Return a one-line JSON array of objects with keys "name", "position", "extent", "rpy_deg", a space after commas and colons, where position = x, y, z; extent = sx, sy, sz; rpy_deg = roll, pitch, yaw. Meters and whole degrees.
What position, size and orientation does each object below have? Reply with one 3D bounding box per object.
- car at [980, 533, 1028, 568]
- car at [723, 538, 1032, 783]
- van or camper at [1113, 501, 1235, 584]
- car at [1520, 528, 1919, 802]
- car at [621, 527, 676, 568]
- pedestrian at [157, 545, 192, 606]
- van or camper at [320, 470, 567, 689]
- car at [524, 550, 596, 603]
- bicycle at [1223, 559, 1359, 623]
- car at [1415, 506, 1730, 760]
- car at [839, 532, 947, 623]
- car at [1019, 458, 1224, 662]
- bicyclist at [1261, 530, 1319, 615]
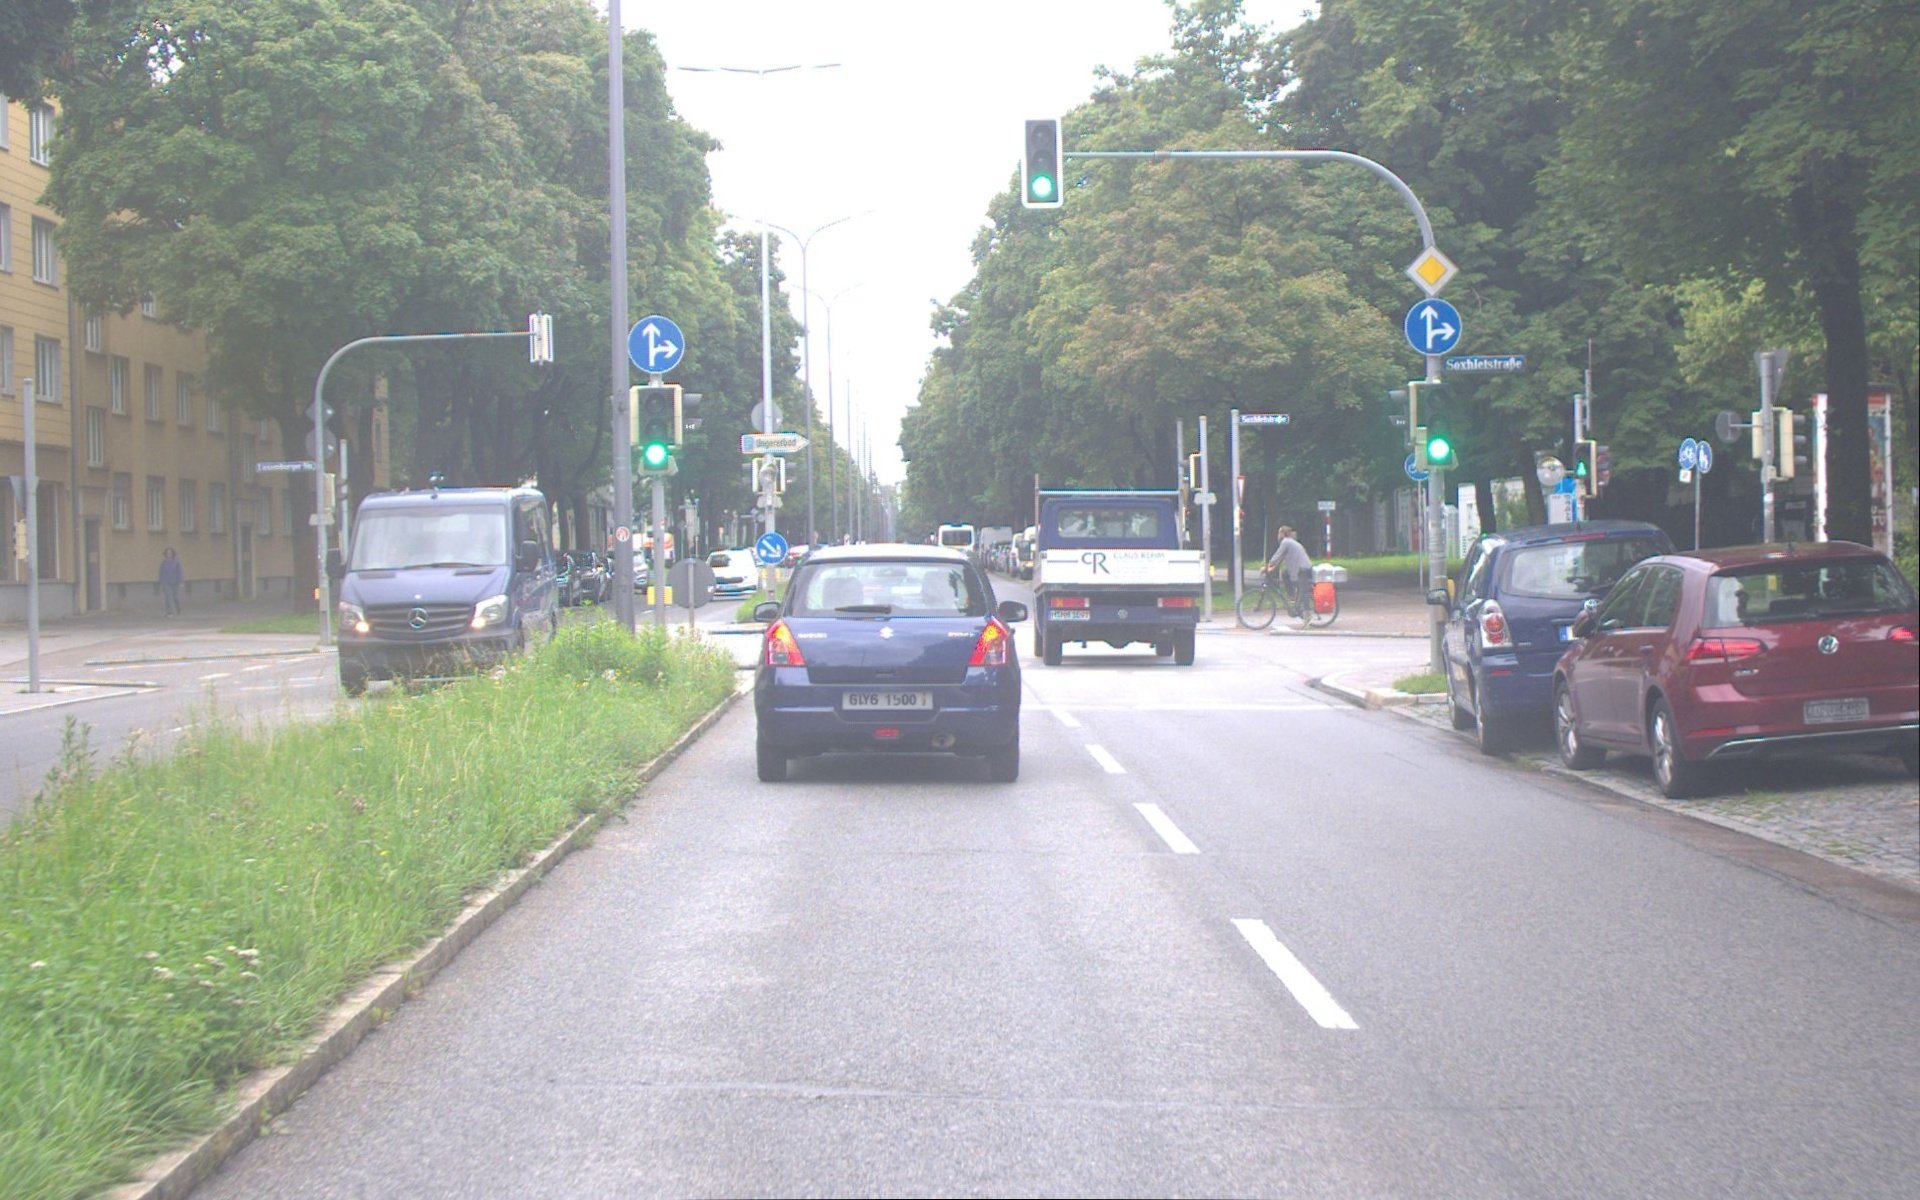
[{"name": "car", "position": [1.895, -2.185, 149.991], "extent": [1.786, 1.494, 3.661], "rpy_deg": [0, 1, -4]}, {"name": "car", "position": [-0.626, 0.336, 22.881], "extent": [1.896, 1.494, 3.661], "rpy_deg": [0, 1, -4]}, {"name": "van or camper", "position": [4.725, -1.285, 76.443], "extent": [2.125, 1.787, 4.508], "rpy_deg": [0, 1, -4]}, {"name": "car", "position": [4.877, 0.328, 21.758], "extent": [1.712, 1.419, 4.284], "rpy_deg": [-5, 1, -2]}, {"name": "car", "position": [-11.389, -1.932, 125.887], "extent": [1.636, 1.437, 3.735], "rpy_deg": [-2, 1, 0]}, {"name": "pedestrian", "position": [-18.642, -0.575, 81.572], "extent": [0.629, 1.435, 0.806], "rpy_deg": [1, 0, -1]}, {"name": "van or camper", "position": [-5.806, -0.278, 39.385], "extent": [2.023, 2.253, 6.022], "rpy_deg": [-2, 1, -2]}, {"name": "car", "position": [-11.665, -0.709, 100.408], "extent": [1.636, 1.437, 3.735], "rpy_deg": [-2, 1, 0]}, {"name": "bicycle", "position": [5.782, -0.163, 60.149], "extent": [2.297, 1.110, 0.996], "rpy_deg": [0, 1, 1]}, {"name": "car", "position": [4.629, 0.180, 26.529], "extent": [1.763, 1.652, 4.283], "rpy_deg": [-5, 1, 3]}, {"name": "car", "position": [-1.153, -0.418, 59.746], "extent": [1.799, 1.494, 3.660], "rpy_deg": [-1, 1, -1]}, {"name": "car", "position": [1.980, -0.527, 43.685], "extent": [2.419, 2.435, 5.087], "rpy_deg": [0, 1, 1]}, {"name": "bicyclist", "position": [5.769, -0.482, 60.143], "extent": [0.930, 1.474, 0.990], "rpy_deg": [0, 1, 1]}]
